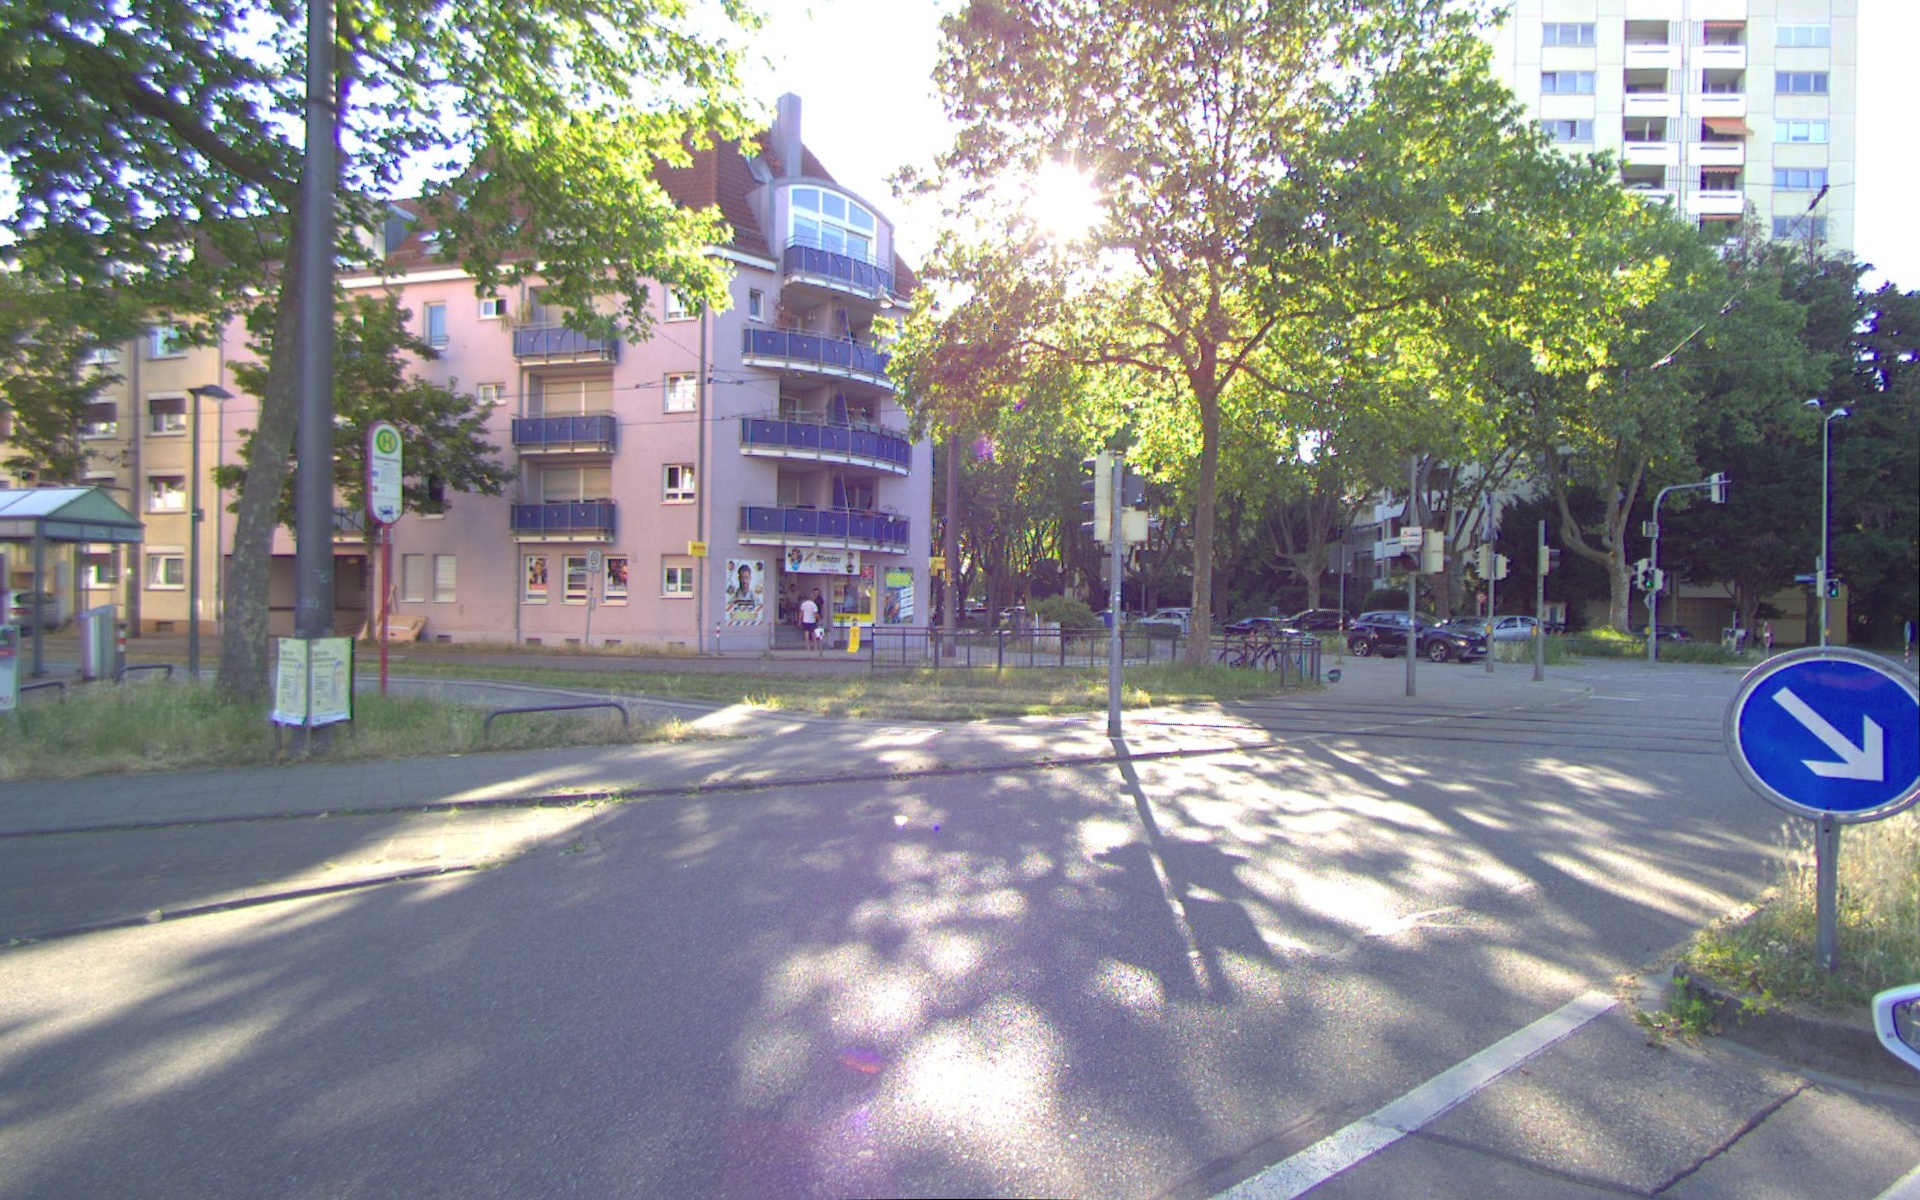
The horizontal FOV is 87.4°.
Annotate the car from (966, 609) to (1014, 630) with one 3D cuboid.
[{"bbox_3d":[2.608,1.674,86.366,3.919,1.617,1.739,2,0,9],"label":"car"}]

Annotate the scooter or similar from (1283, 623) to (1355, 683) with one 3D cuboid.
[{"bbox_3d":[7.922,1.160,22.204,1.412,1.255,0.414,2,0,9],"label":"scooter or similar"}]

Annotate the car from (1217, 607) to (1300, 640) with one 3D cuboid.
[{"bbox_3d":[15.913,1.243,53.682,3.921,1.617,1.738,2,0,0],"label":"car"}]

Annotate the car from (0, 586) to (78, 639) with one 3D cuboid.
[{"bbox_3d":[-33.478,0.392,35.218,4.029,1.728,1.940,2,0,16],"label":"car"}]

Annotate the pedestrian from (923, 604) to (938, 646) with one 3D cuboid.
[{"bbox_3d":[-1.201,1.016,40.996,0.541,1.689,0.619,2,0,-5],"label":"pedestrian"}]

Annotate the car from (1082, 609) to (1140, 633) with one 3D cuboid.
[{"bbox_3d":[11.083,1.527,73.898,3.921,1.617,1.738,2,0,0],"label":"car"}]

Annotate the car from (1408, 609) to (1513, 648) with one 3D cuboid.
[{"bbox_3d":[22.840,1.299,45.954,3.921,1.617,1.738,2,0,0],"label":"car"}]

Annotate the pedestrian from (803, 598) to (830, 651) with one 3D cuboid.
[{"bbox_3d":[-4.662,0.778,32.658,0.610,1.689,0.549,2,0,38],"label":"pedestrian"}]

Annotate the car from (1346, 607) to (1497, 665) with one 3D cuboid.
[{"bbox_3d":[14.359,1.082,31.431,1.722,1.617,3.959,2,0,-36],"label":"car"}]

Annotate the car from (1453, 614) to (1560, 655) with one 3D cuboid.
[{"bbox_3d":[23.879,1.494,43.983,3.732,1.617,1.738,2,0,0],"label":"car"}]

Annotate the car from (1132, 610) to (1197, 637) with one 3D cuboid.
[{"bbox_3d":[13.402,1.555,65.983,3.921,1.617,1.738,2,0,0],"label":"car"}]

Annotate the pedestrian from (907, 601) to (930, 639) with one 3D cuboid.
[{"bbox_3d":[-1.894,0.909,46.068,0.910,1.689,0.618,2,0,-13],"label":"pedestrian"}]

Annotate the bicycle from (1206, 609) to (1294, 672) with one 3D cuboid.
[{"bbox_3d":[6.400,0.879,22.246,1.811,1.324,0.382,2,0,34],"label":"bicycle"}]

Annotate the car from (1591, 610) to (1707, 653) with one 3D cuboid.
[{"bbox_3d":[31.620,1.413,46.203,1.971,1.798,3.979,2,0,-22],"label":"car"}]
